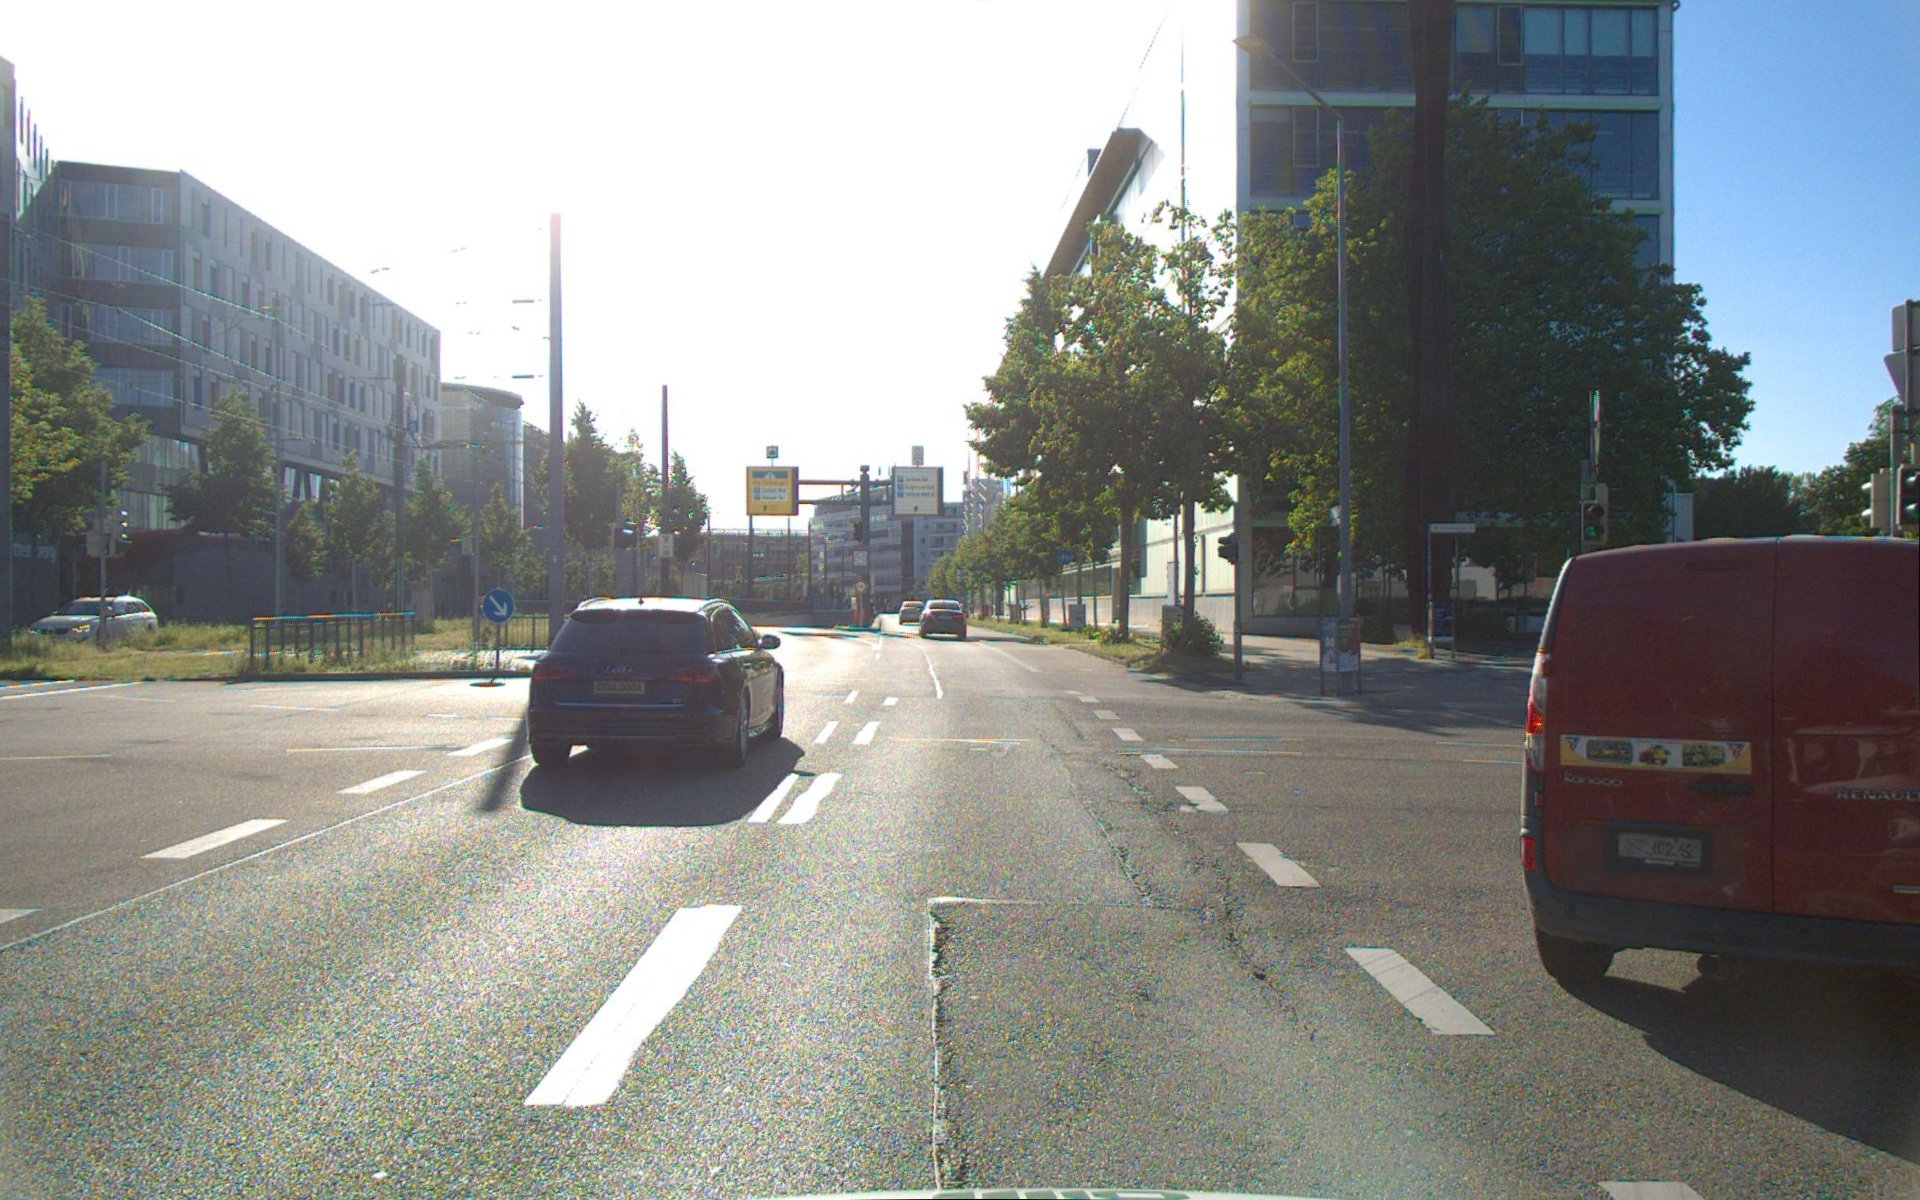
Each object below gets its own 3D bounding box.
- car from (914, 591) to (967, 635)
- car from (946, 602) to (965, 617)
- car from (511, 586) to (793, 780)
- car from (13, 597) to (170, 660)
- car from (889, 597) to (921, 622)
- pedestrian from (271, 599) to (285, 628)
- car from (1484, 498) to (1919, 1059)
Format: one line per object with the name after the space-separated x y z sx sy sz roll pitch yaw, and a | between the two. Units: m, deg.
-0.756 0.479 62.664 1.816 1.573 3.997 1 0 -3 | car
-0.540 1.073 186.232 1.816 1.507 4.850 -2 0 -3 | car
-2.706 0.649 15.603 1.775 1.452 4.690 -1 1 0 | car
-23.466 0.725 44.915 1.954 1.589 4.868 0 0 -4 | car
-3.497 0.571 104.867 1.953 1.491 3.999 1 1 -2 | car
-48.171 0.969 116.786 0.721 2.049 0.689 0 -1 -2 | pedestrian
3.975 0.613 7.423 1.818 1.846 4.096 1 0 37 | car
